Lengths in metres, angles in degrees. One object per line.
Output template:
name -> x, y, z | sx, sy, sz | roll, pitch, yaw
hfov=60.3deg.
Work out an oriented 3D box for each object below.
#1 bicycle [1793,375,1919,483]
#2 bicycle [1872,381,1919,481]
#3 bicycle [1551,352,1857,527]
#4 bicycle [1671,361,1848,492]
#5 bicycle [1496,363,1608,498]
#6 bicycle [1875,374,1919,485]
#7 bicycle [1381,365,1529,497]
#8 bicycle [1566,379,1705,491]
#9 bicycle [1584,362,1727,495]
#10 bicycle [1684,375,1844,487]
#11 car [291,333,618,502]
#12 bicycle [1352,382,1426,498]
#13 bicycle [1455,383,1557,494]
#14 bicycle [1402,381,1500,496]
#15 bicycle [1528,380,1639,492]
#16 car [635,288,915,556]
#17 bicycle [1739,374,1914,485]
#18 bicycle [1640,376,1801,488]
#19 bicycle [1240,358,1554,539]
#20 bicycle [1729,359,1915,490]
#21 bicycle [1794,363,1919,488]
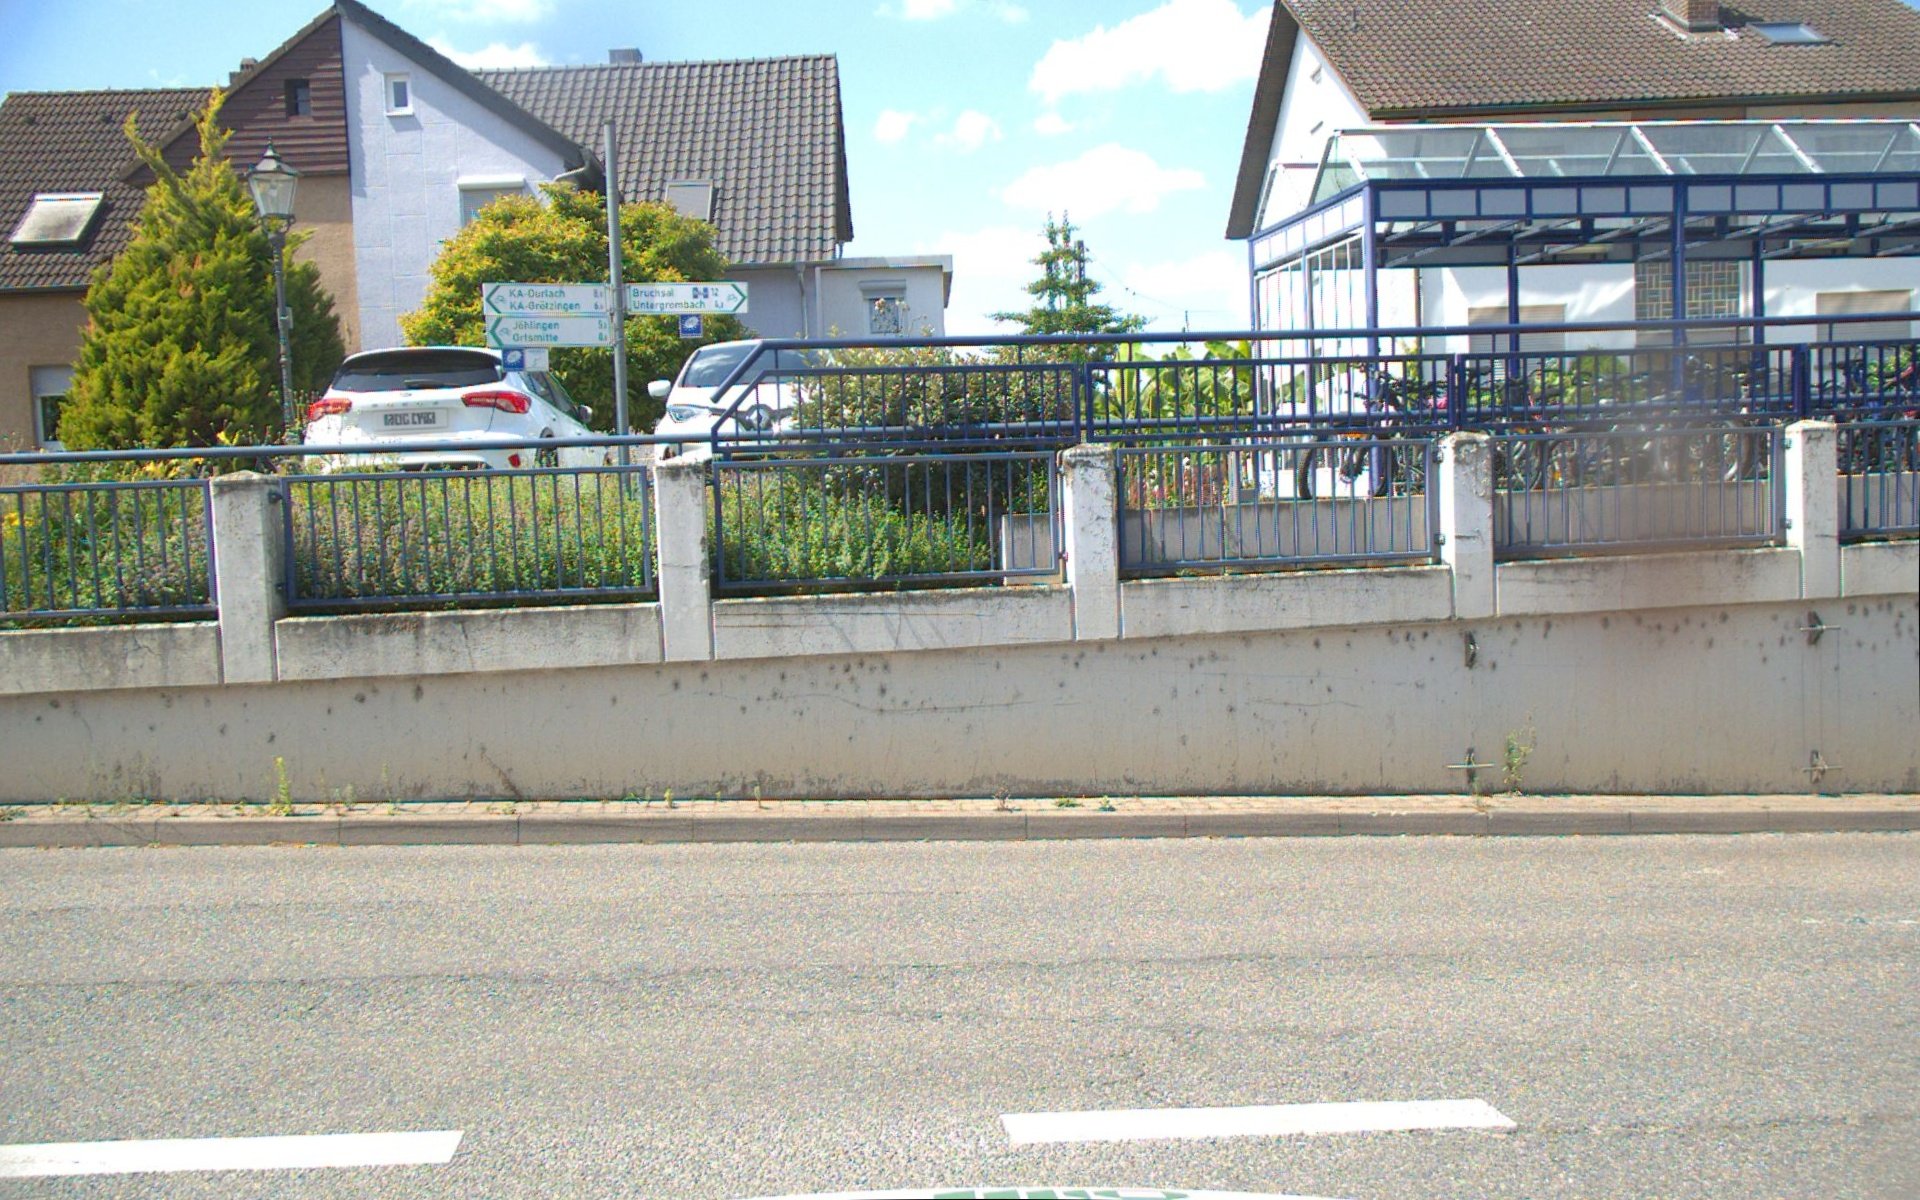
bicycle -> 9.362, -1.727, 16.968 | 0.509, 1.012, 1.798 | -2, 3, -8
bicycle -> 10.136, -1.739, 16.741 | 0.509, 1.012, 1.962 | -2, 3, -8
bicycle -> 5.163, -1.112, 11.472 | 2.076, 1.145, 0.391 | -2, 3, -10
bicycle -> 6.907, -1.468, 14.408 | 0.426, 1.012, 2.282 | -2, 3, 0
bicycle -> 4.876, -1.364, 13.714 | 0.426, 1.012, 2.105 | -1, 3, 7
bicycle -> 9.155, -1.563, 14.808 | 0.522, 1.012, 2.186 | -2, 3, -6
bicycle -> 4.167, -1.395, 14.060 | 0.326, 1.012, 2.072 | -2, 3, -9
bicycle -> 6.730, -1.620, 16.570 | 0.418, 1.012, 1.964 | -2, 3, -5
bicycle -> 5.852, -1.412, 14.020 | 0.426, 1.012, 2.104 | -1, 3, 3
bicycle -> 8.034, -1.664, 16.612 | 0.406, 1.012, 1.962 | -2, 3, -8
car -> -4.016, -1.418, 13.705 | 1.788, 1.037, 3.457 | 1, 1, -3
bicycle -> 4.049, -1.485, 15.705 | 0.445, 1.012, 1.890 | -1, 3, 8
bicycle -> 5.393, -1.569, 16.431 | 0.365, 1.012, 1.966 | -2, 3, 0
bicycle -> 4.705, -1.519, 15.935 | 0.365, 1.012, 1.966 | -2, 3, 0
bicycle -> 6.126, -1.587, 16.333 | 0.365, 1.012, 1.966 | -2, 3, 0
car -> -1.424, -1.320, 13.893 | 1.954, 1.828, 4.194 | 1, 1, -3
bicycle -> 8.725, -1.694, 16.745 | 0.509, 1.012, 1.962 | -2, 3, -8
bicycle -> 7.569, -1.646, 16.556 | 0.464, 1.012, 1.962 | -2, 3, -8
bicycle -> 2.932, -1.018, 11.080 | 2.076, 1.145, 0.332 | -2, 3, -10
bicycle -> 7.477, -1.489, 14.462 | 0.426, 1.012, 2.282 | -2, 3, 0
bicycle -> 8.233, -1.514, 14.475 | 0.522, 1.012, 2.279 | -2, 3, -6
